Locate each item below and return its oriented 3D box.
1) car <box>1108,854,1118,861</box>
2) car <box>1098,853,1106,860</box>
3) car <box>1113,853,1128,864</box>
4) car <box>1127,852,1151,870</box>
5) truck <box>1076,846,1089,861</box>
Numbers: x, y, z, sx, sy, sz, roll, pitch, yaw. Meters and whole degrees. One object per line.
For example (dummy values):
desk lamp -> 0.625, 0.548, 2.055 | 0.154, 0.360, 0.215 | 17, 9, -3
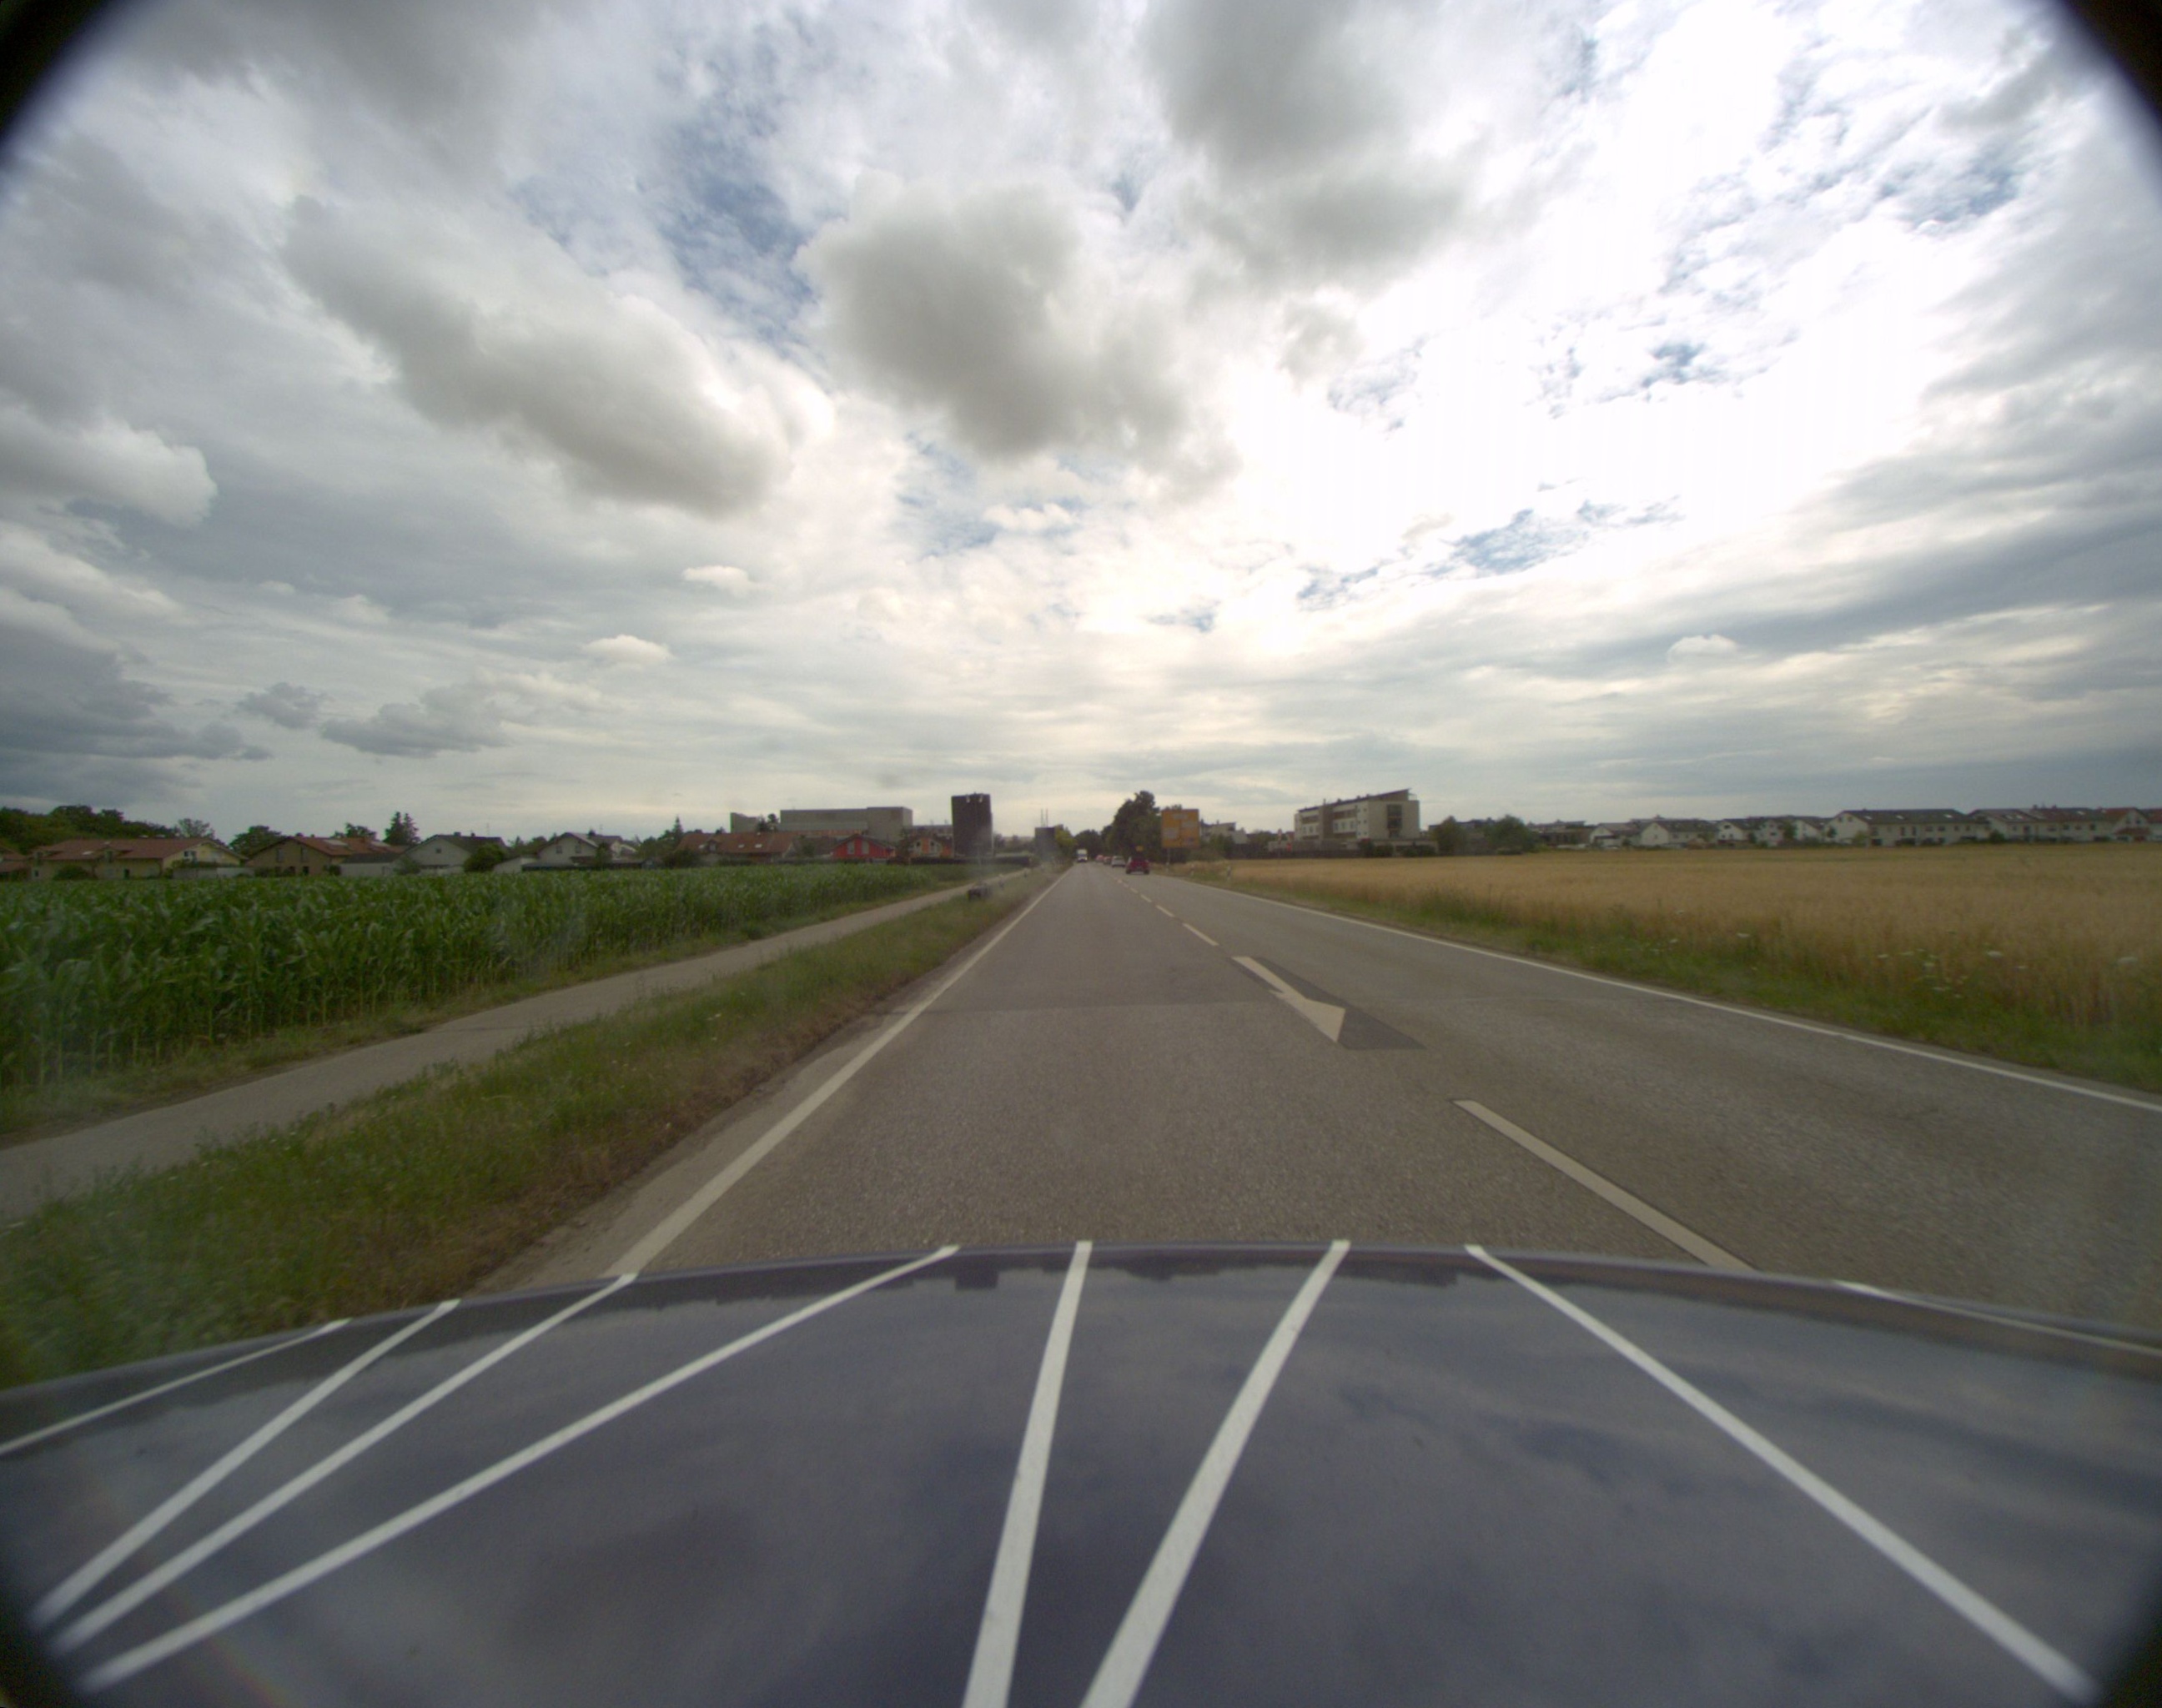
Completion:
car -> 5.738, 0.611, 135.900 | 1.733, 1.355, 3.949 | -1, 0, 0
car -> 5.023, 0.699, 181.964 | 1.998, 1.674, 4.809 | 0, 0, 0
car -> 5.256, 0.609, 101.397 | 1.810, 1.448, 4.113 | -1, 0, 0
car -> 4.863, 0.546, 64.369 | 1.716, 1.480, 4.608 | -1, 0, 1
truck -> 0.281, -0.068, 187.052 | 2.613, 3.427, 7.509 | -2, 0, 4
